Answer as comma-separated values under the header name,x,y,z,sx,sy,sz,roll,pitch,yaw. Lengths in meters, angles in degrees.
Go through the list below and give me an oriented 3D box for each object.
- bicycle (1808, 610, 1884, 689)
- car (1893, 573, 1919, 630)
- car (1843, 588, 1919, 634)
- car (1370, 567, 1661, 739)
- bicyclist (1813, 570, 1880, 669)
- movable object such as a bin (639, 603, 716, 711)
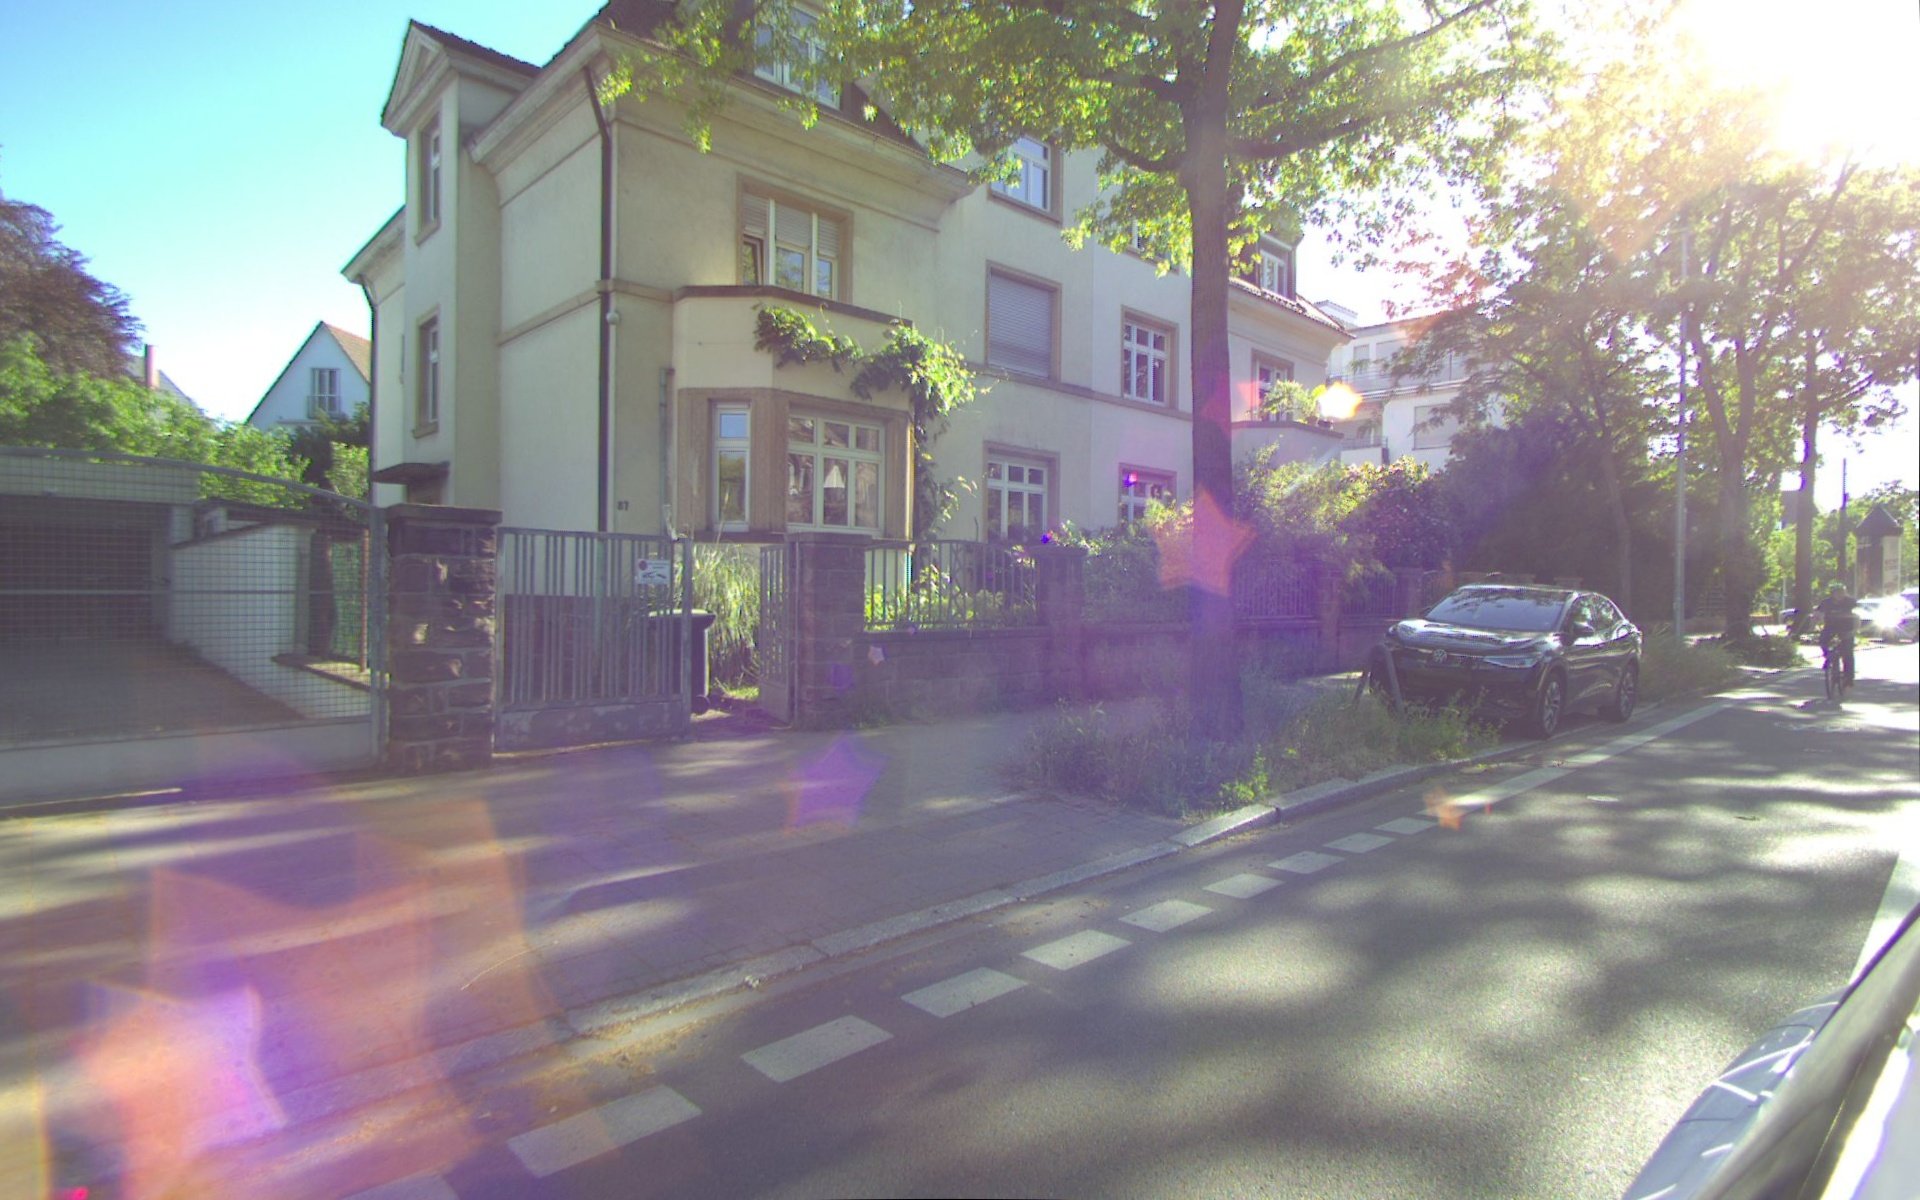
name,x,y,z,sx,sy,sz,roll,pitch,yaw
bicycle,13.942,0.749,15.912,1.868,1.158,0.644,0,0,-41
car,36.792,0.054,38.084,4.503,2.039,1.997,0,1,-41
car,31.557,0.342,34.423,3.930,1.469,1.785,0,1,-41
car,6.719,0.501,12.067,4.021,1.626,1.743,0,4,-42
bicyclist,13.952,0.290,15.917,1.095,1.506,0.645,0,0,-41
movable object such as a bin,-3.042,0.573,10.841,0.697,1.070,1.093,0,0,-20
